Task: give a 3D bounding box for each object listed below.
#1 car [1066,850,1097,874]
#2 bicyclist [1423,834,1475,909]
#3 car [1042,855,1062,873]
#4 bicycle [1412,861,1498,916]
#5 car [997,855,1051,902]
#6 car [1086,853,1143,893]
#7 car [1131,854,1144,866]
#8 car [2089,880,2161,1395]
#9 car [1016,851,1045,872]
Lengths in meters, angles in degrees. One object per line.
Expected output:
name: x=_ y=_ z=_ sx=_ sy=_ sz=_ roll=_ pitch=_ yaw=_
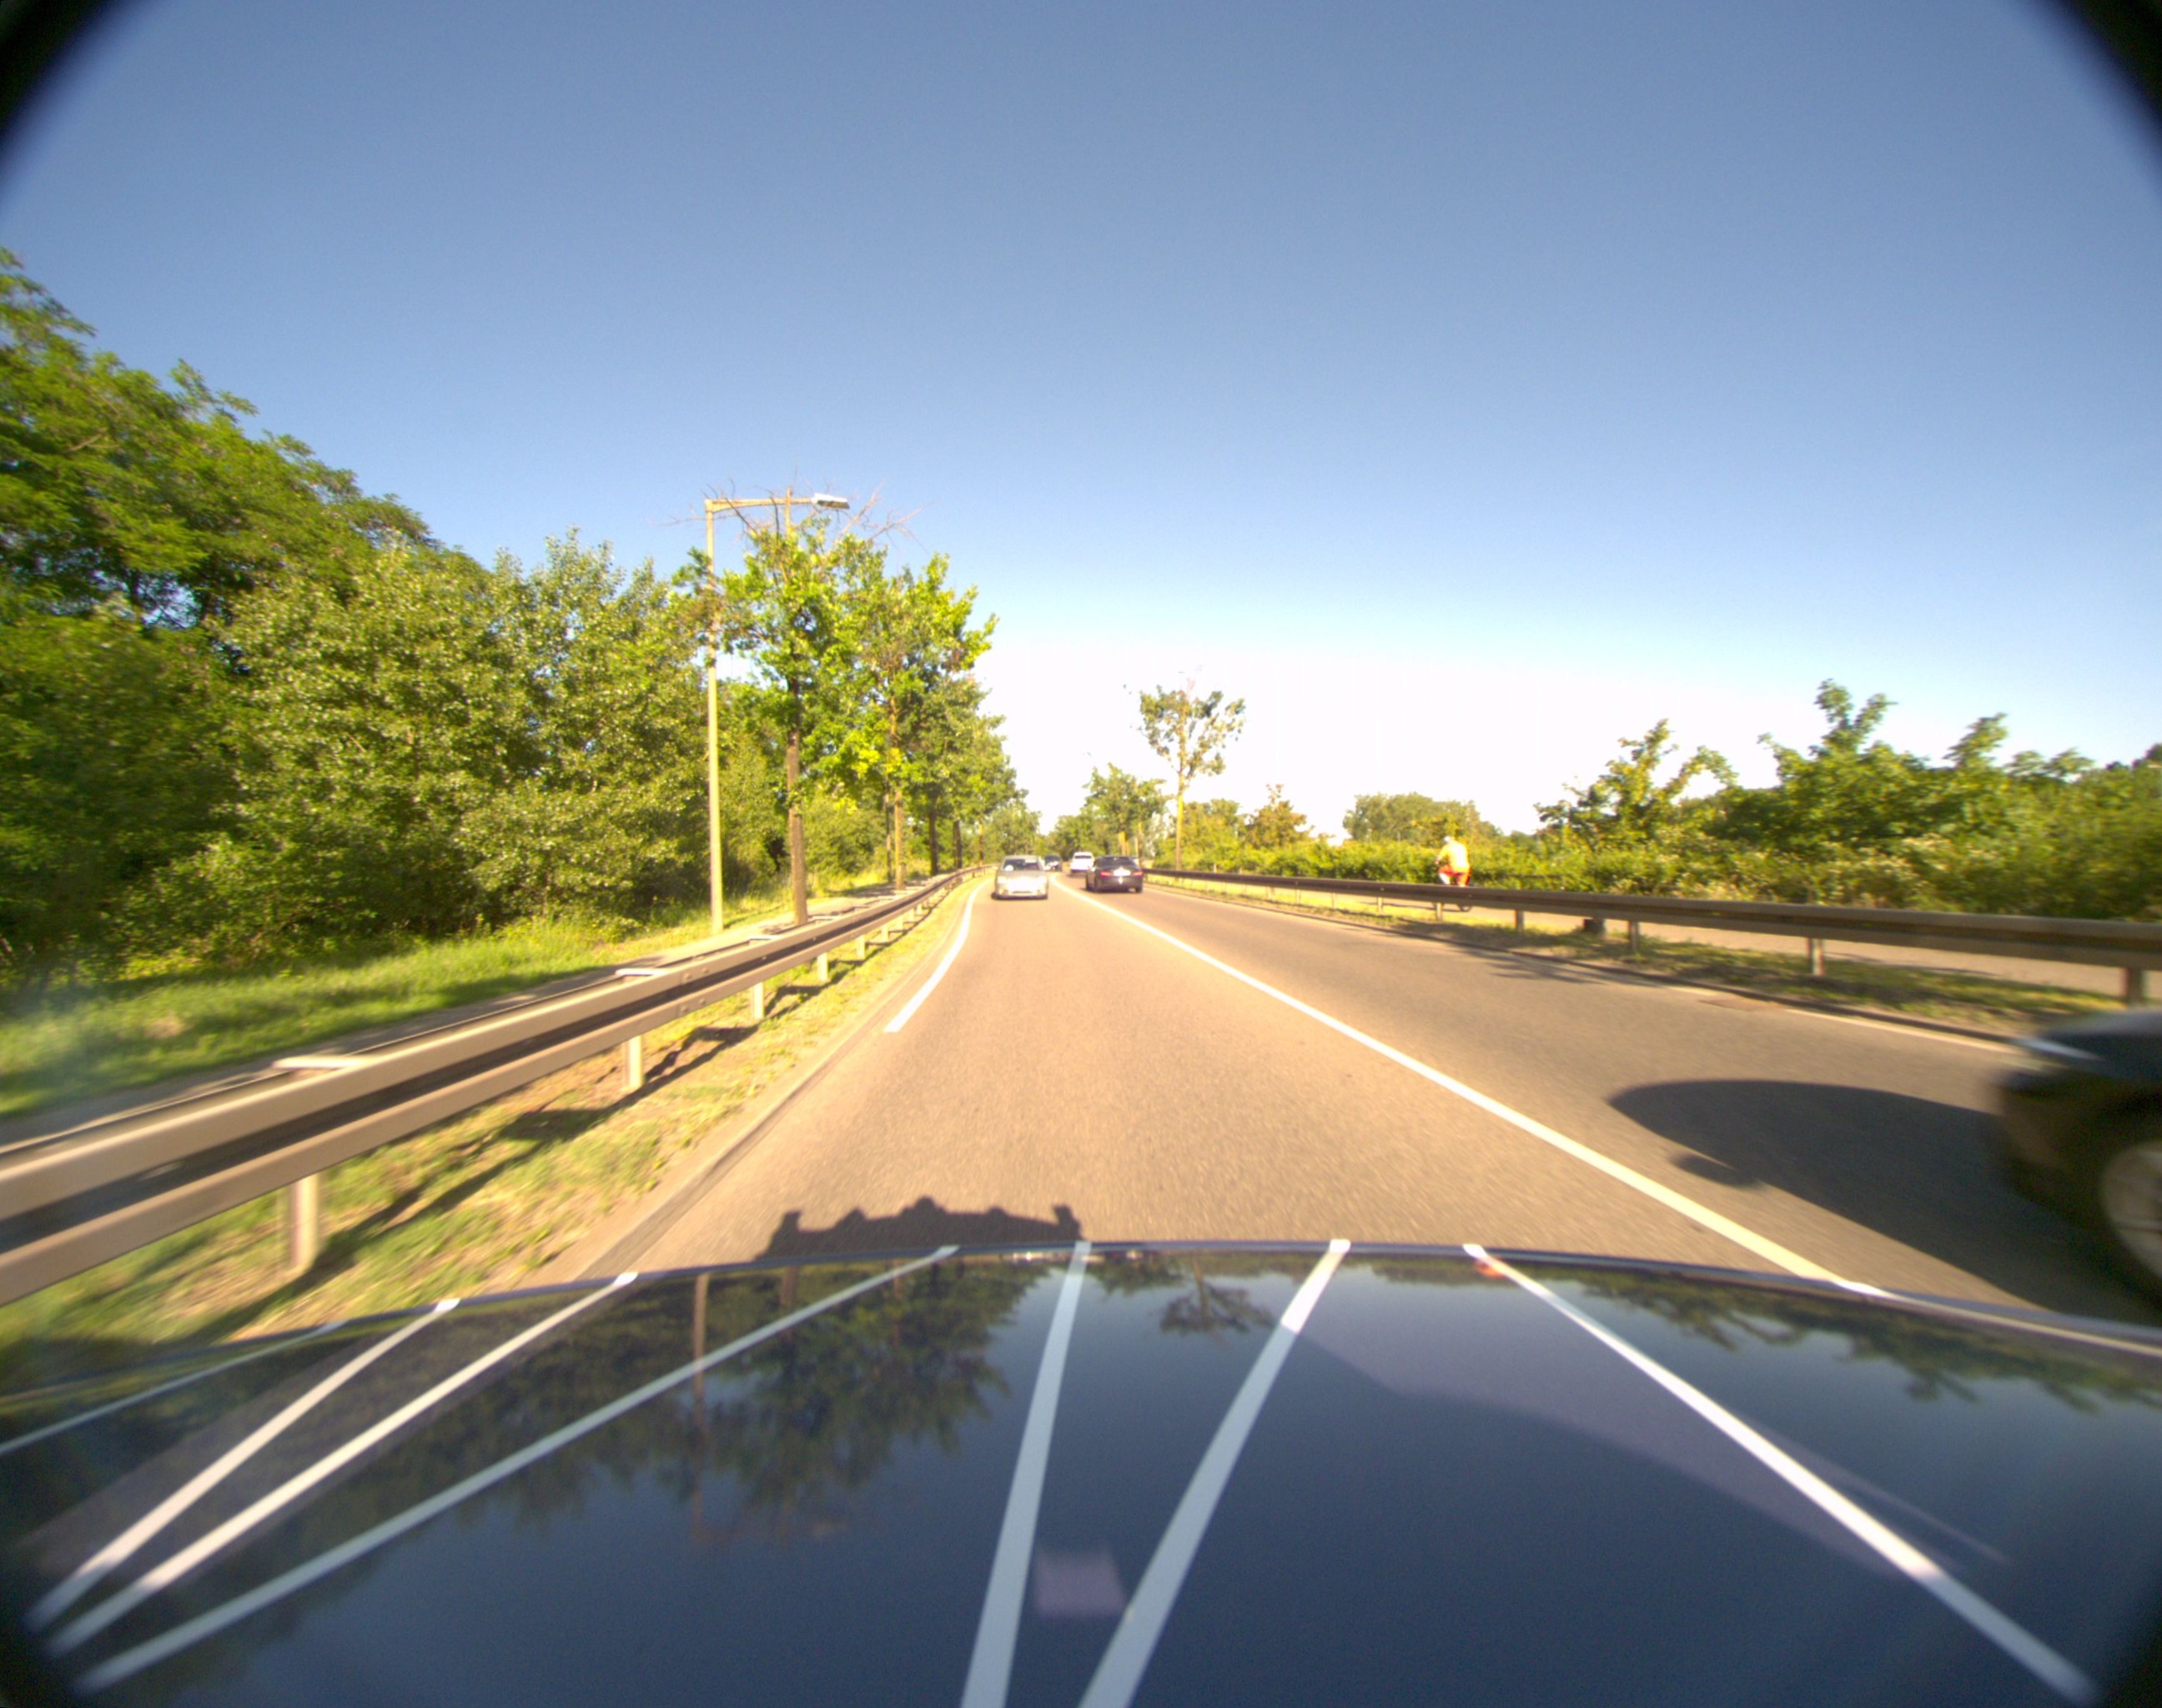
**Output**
car: x=-0.001 y=0.583 z=55.247 sx=1.734 sy=1.648 sz=3.979 roll=-1 pitch=0 yaw=-7
bicyclist: x=8.133 y=0.381 z=16.829 sx=0.653 sy=1.614 sz=0.873 roll=-1 pitch=1 yaw=-6
car: x=-2.830 y=0.952 z=73.541 sx=1.683 sy=1.694 sz=3.604 roll=-1 pitch=0 yaw=-4
bicycle: x=8.150 y=0.718 z=16.671 sx=0.662 sy=1.089 sz=2.107 roll=-1 pitch=0 yaw=-6
car: x=-1.967 y=0.773 z=25.967 sx=1.683 sy=1.433 sz=3.856 roll=-1 pitch=0 yaw=-5
car: x=1.242 y=0.686 z=29.798 sx=1.696 sy=1.432 sz=4.214 roll=-1 pitch=0 yaw=-4
car: x=7.968 y=0.859 z=107.160 sx=1.813 sy=1.545 sz=4.141 roll=1 pitch=0 yaw=4
car: x=4.163 y=0.822 z=0.231 sx=1.814 sy=1.488 sz=4.367 roll=-1 pitch=0 yaw=-4
car: x=-3.918 y=0.570 z=59.876 sx=2.150 sy=1.558 sz=4.197 roll=0 pitch=0 yaw=-2
